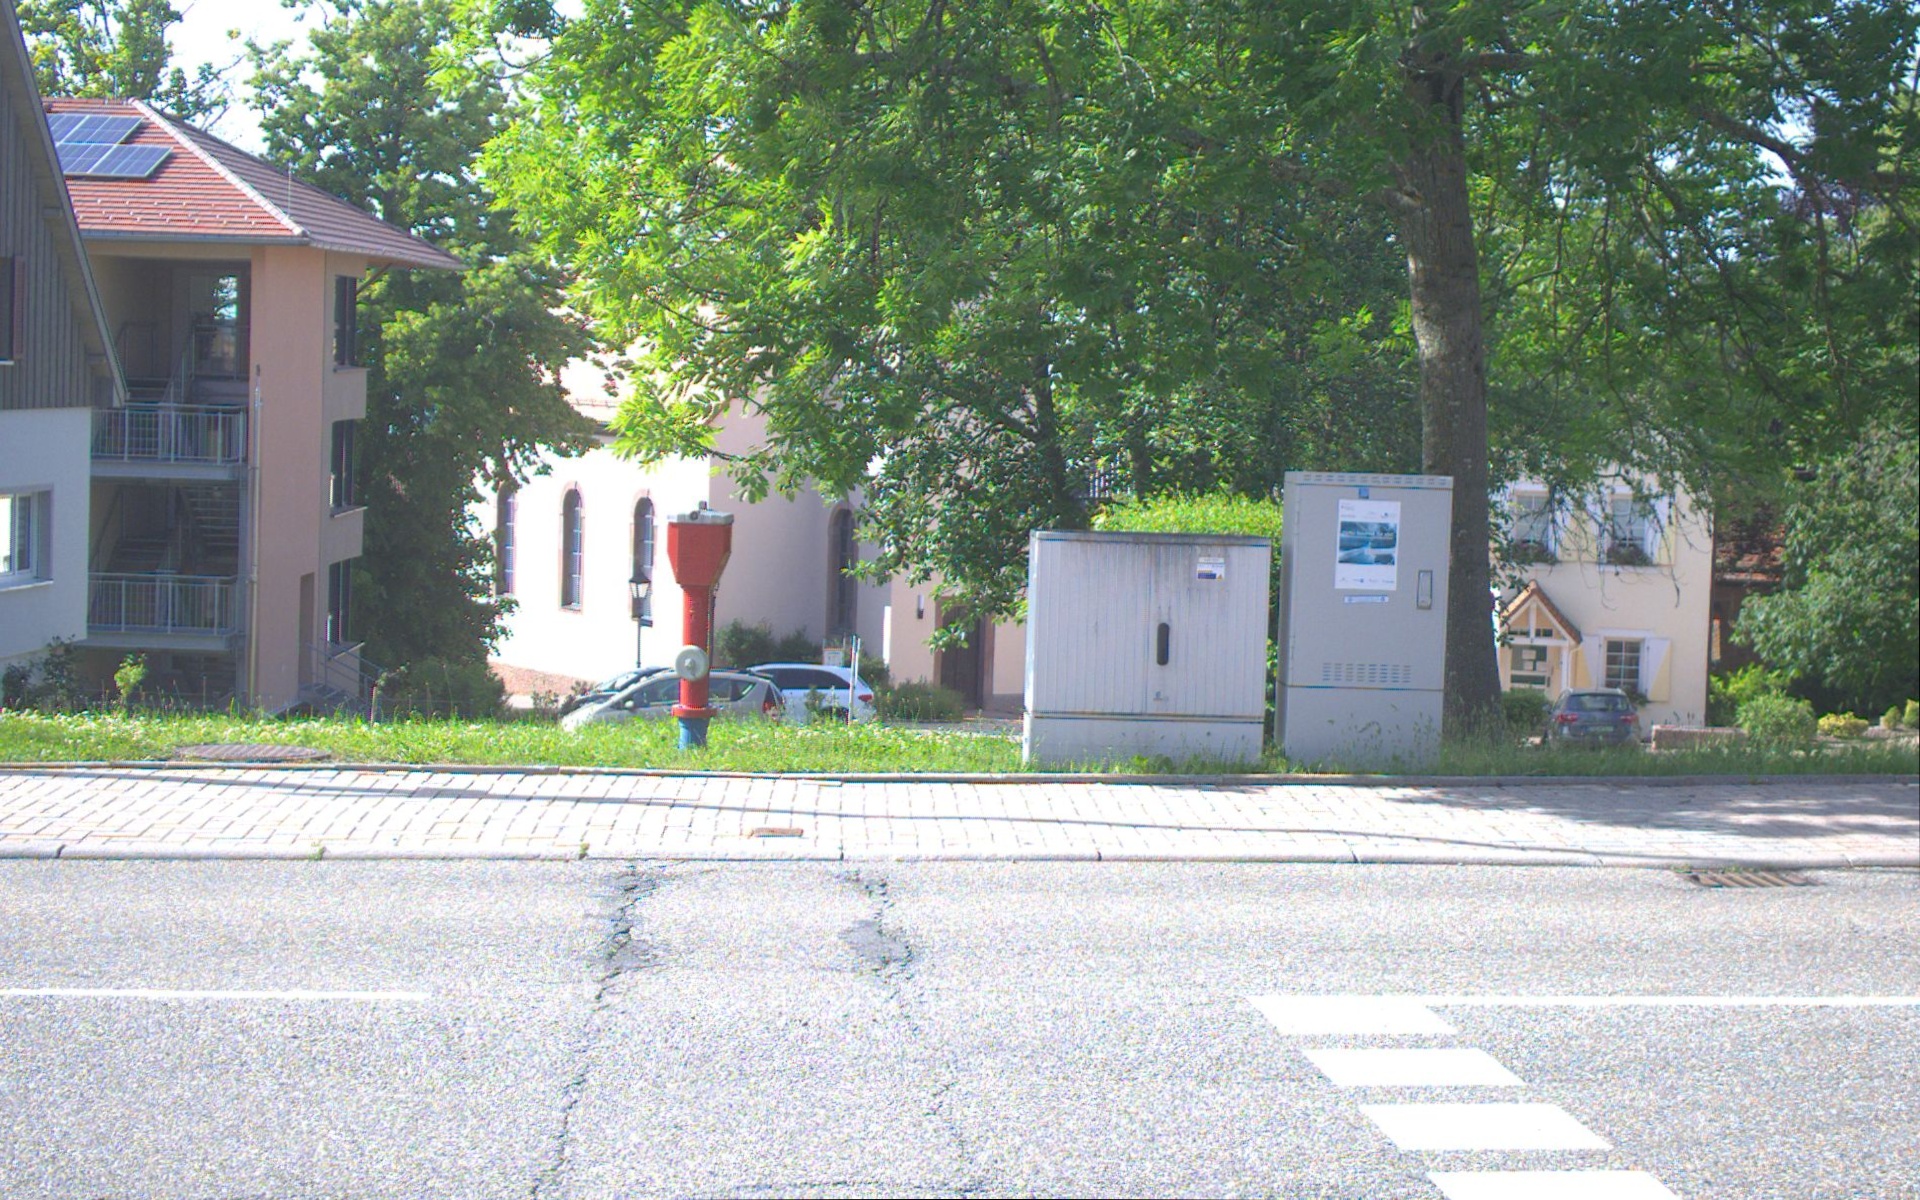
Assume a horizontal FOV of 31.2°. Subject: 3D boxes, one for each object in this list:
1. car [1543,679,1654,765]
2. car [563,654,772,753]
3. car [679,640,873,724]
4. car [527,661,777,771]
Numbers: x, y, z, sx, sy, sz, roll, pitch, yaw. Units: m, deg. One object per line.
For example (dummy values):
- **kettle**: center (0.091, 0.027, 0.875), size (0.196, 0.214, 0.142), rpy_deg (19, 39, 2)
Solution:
- **car**: center (12.582, 2.384, 67.912), size (1.708, 1.536, 3.785), rpy_deg (0, 0, 4)
- **car**: center (-5.415, 1.900, 63.477), size (3.772, 1.752, 1.714), rpy_deg (1, 0, -6)
- **car**: center (-3.680, 1.627, 68.498), size (3.772, 1.588, 1.714), rpy_deg (1, 0, -6)
- **car**: center (-5.159, 1.939, 57.652), size (4.089, 1.752, 1.714), rpy_deg (1, 0, -5)
